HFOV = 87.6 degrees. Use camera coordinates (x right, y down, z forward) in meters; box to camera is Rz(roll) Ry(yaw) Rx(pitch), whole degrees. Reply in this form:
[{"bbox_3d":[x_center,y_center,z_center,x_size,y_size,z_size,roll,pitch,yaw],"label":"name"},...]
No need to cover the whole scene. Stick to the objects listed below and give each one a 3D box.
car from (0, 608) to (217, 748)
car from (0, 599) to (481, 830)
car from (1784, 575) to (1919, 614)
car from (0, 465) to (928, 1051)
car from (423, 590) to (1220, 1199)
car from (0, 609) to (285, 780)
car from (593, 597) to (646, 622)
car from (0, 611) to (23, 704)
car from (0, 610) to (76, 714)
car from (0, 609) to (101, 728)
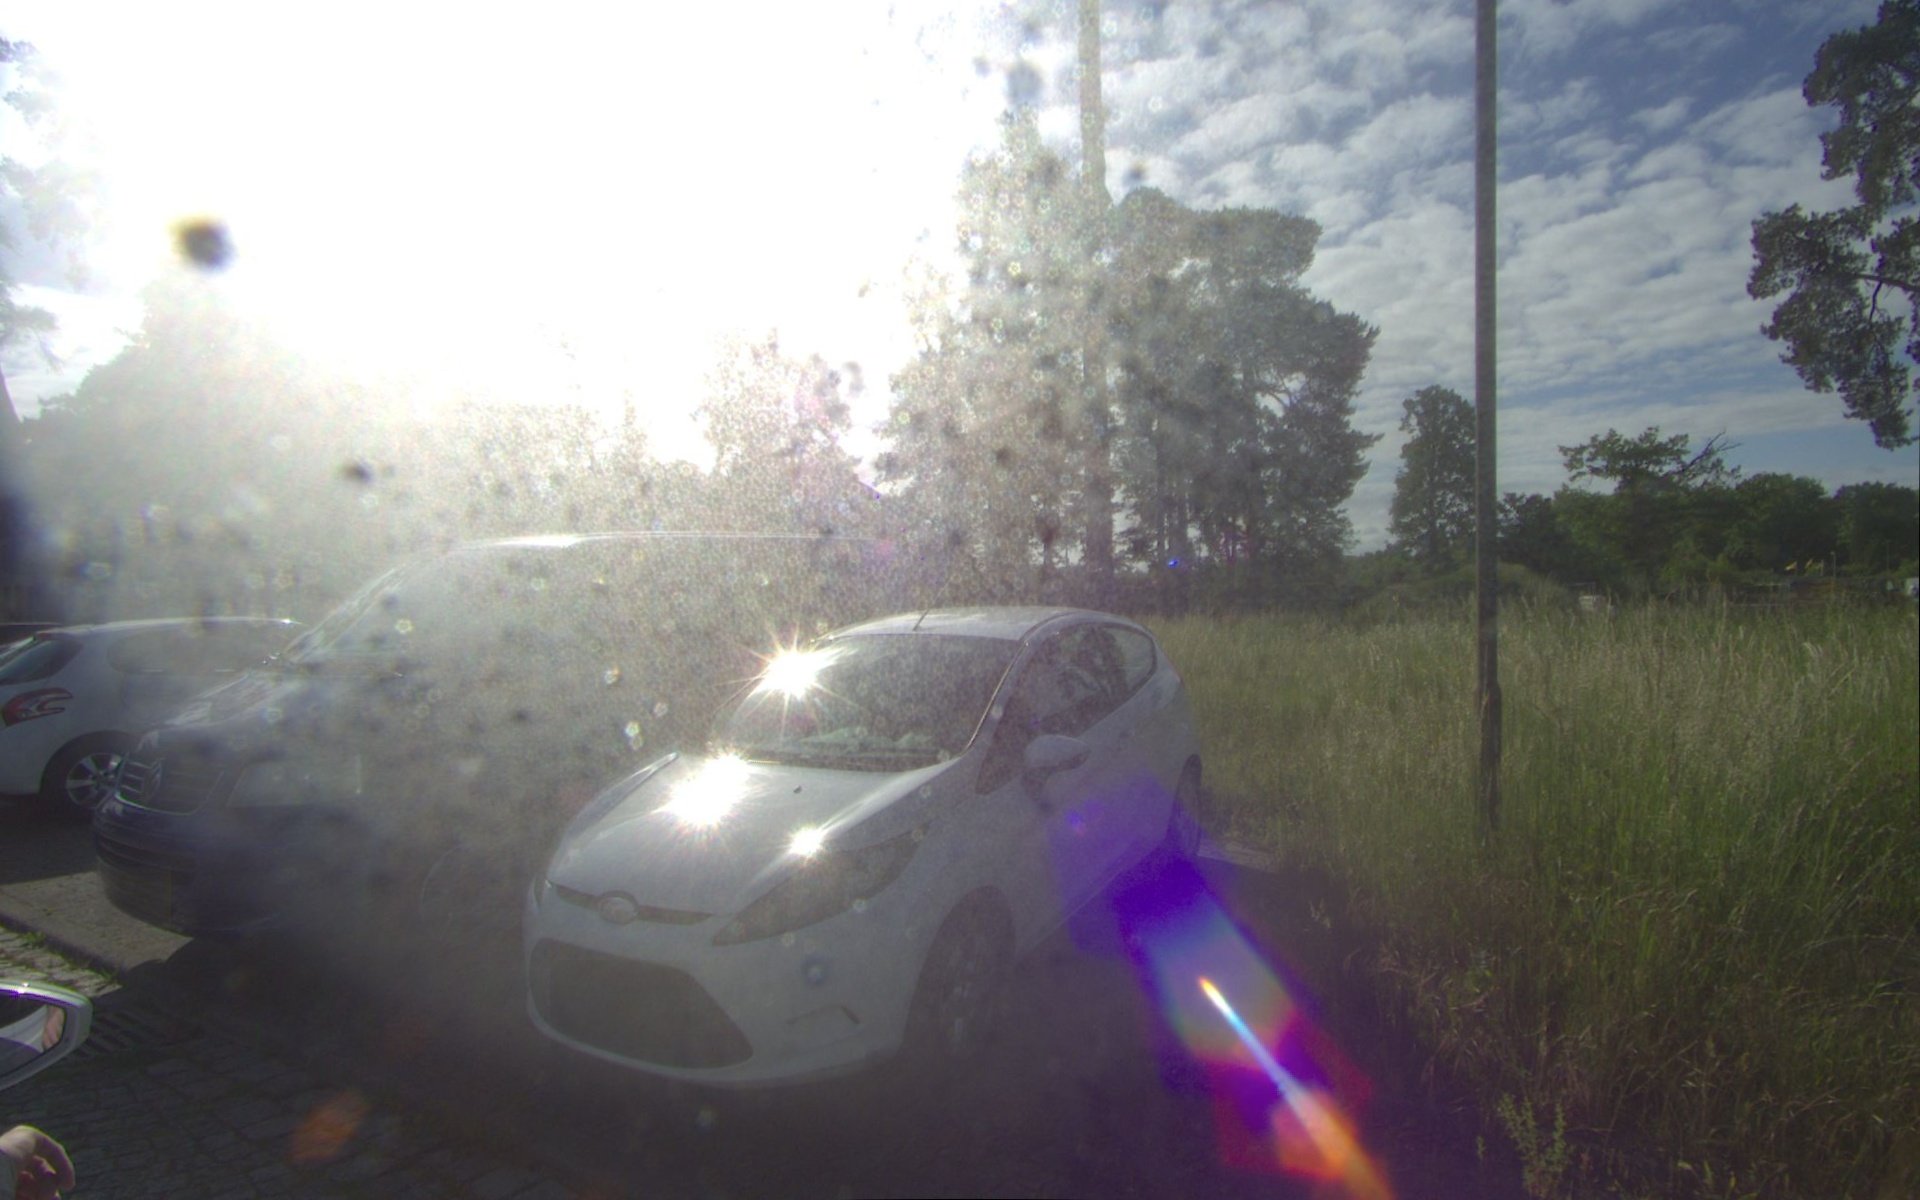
[{"bbox_3d":[-11.313,0.896,12.019,1.621,1.550,3.472,0,0,30],"label":"car"},{"bbox_3d":[-6.495,0.810,8.929,1.622,1.486,3.684,-1,2,32],"label":"car"},{"bbox_3d":[55.720,-0.312,62.743,2.346,2.199,5.973,-1,-1,-36],"label":"car"},{"bbox_3d":[-2.263,0.546,6.032,2.052,2.040,4.671,0,0,29],"label":"car"},{"bbox_3d":[-0.131,0.742,4.498,1.620,1.508,3.713,0,1,29],"label":"car"},{"bbox_3d":[-9.174,0.896,10.005,1.621,1.487,3.668,0,1,30],"label":"car"},{"bbox_3d":[-29.285,0.815,86.214,1.971,2.040,3.979,0,0,32],"label":"car"},{"bbox_3d":[-17.516,0.982,15.536,1.620,1.550,4.030,0,0,28],"label":"car"},{"bbox_3d":[-15.545,0.954,14.636,1.621,1.550,3.597,0,0,30],"label":"car"},{"bbox_3d":[-13.758,0.928,13.107,1.621,1.550,3.472,0,0,30],"label":"car"}]
